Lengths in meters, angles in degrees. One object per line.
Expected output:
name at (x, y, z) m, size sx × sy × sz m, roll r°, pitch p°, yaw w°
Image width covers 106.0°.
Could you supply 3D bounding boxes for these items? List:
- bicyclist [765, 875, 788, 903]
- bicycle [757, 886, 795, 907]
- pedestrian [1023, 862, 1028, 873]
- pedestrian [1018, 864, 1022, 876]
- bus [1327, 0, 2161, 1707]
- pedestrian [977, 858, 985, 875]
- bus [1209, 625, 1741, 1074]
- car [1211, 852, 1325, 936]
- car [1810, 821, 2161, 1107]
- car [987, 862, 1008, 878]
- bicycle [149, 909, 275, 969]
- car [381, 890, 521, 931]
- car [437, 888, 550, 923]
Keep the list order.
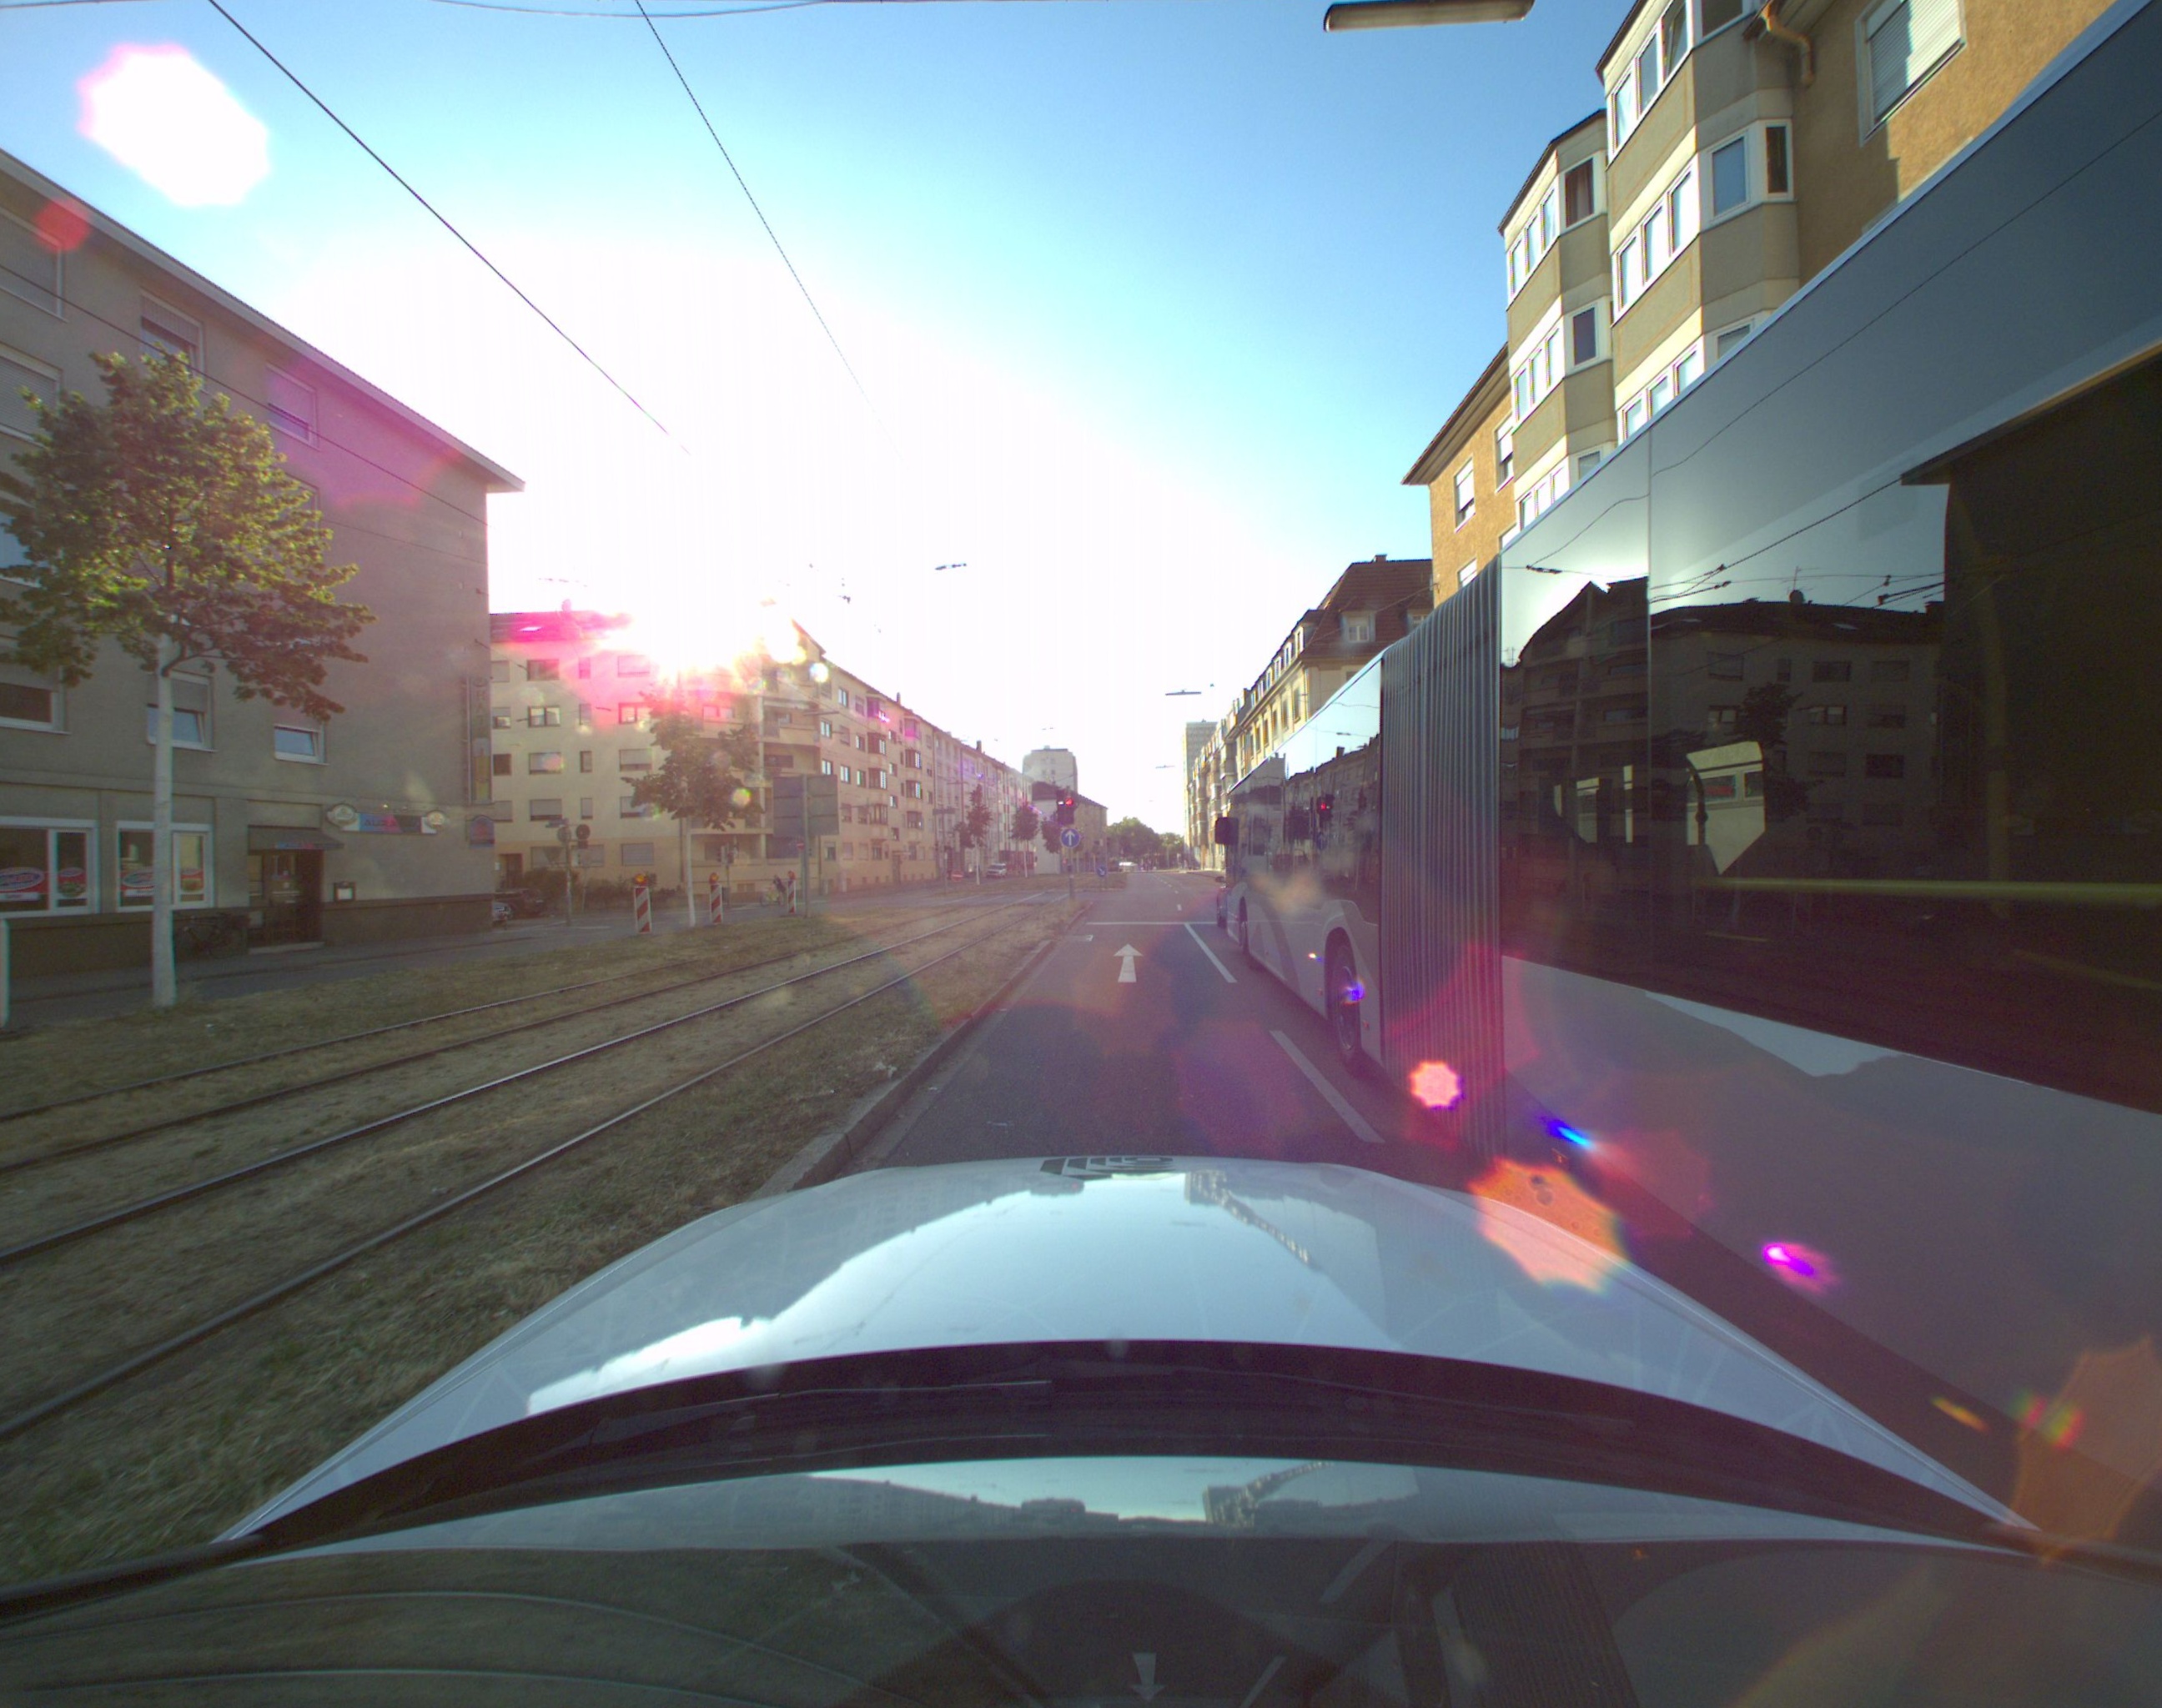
bicyclist at (-16.034, 1.840, 42.924) m, size 0.522 × 1.447 × 0.971 m, roll -3°, pitch -1°, yaw 34°
bicycle at (-16.058, 2.228, 42.864) m, size 0.522 × 0.984 × 1.895 m, roll -3°, pitch -1°, yaw 34°
pedestrian at (-8.262, 2.030, 121.145) m, size 0.493 × 1.658 × 0.409 m, roll -3°, pitch -1°, yaw 4°
pedestrian at (-8.999, 2.380, 120.926) m, size 0.493 × 1.658 × 0.409 m, roll -3°, pitch -1°, yaw 4°
bus at (2.798, -0.059, 1.171) m, size 2.727 × 3.056 × 8.862 m, roll -1°, pitch -1°, yaw 4°
pedestrian at (-12.151, 1.539, 99.122) m, size 0.784 × 2.014 × 0.890 m, roll -2°, pitch -1°, yaw 0°
bus at (3.397, 0.023, 10.167) m, size 2.727 × 3.056 × 9.140 m, roll -1°, pitch -1°, yaw 4°
car at (3.981, 0.803, 17.964) m, size 1.762 × 1.575 × 4.089 m, roll -2°, pitch -1°, yaw 4°
car at (6.707, 0.558, 4.432) m, size 1.830 × 1.537 × 4.234 m, roll -2°, pitch -1°, yaw 4°
car at (-10.178, 1.950, 99.332) m, size 1.803 × 1.798 × 4.251 m, roll 0°, pitch -1°, yaw 5°
bicycle at (-18.912, 1.815, 17.779) m, size 0.743 × 1.115 × 1.780 m, roll -2°, pitch -1°, yaw 4°
car at (-25.473, 2.277, 33.046) m, size 4.103 × 1.388 × 1.762 m, roll -2°, pitch -1°, yaw -7°
car at (-28.251, 2.457, 39.262) m, size 3.954 × 1.440 × 1.786 m, roll -3°, pitch -1°, yaw -7°
